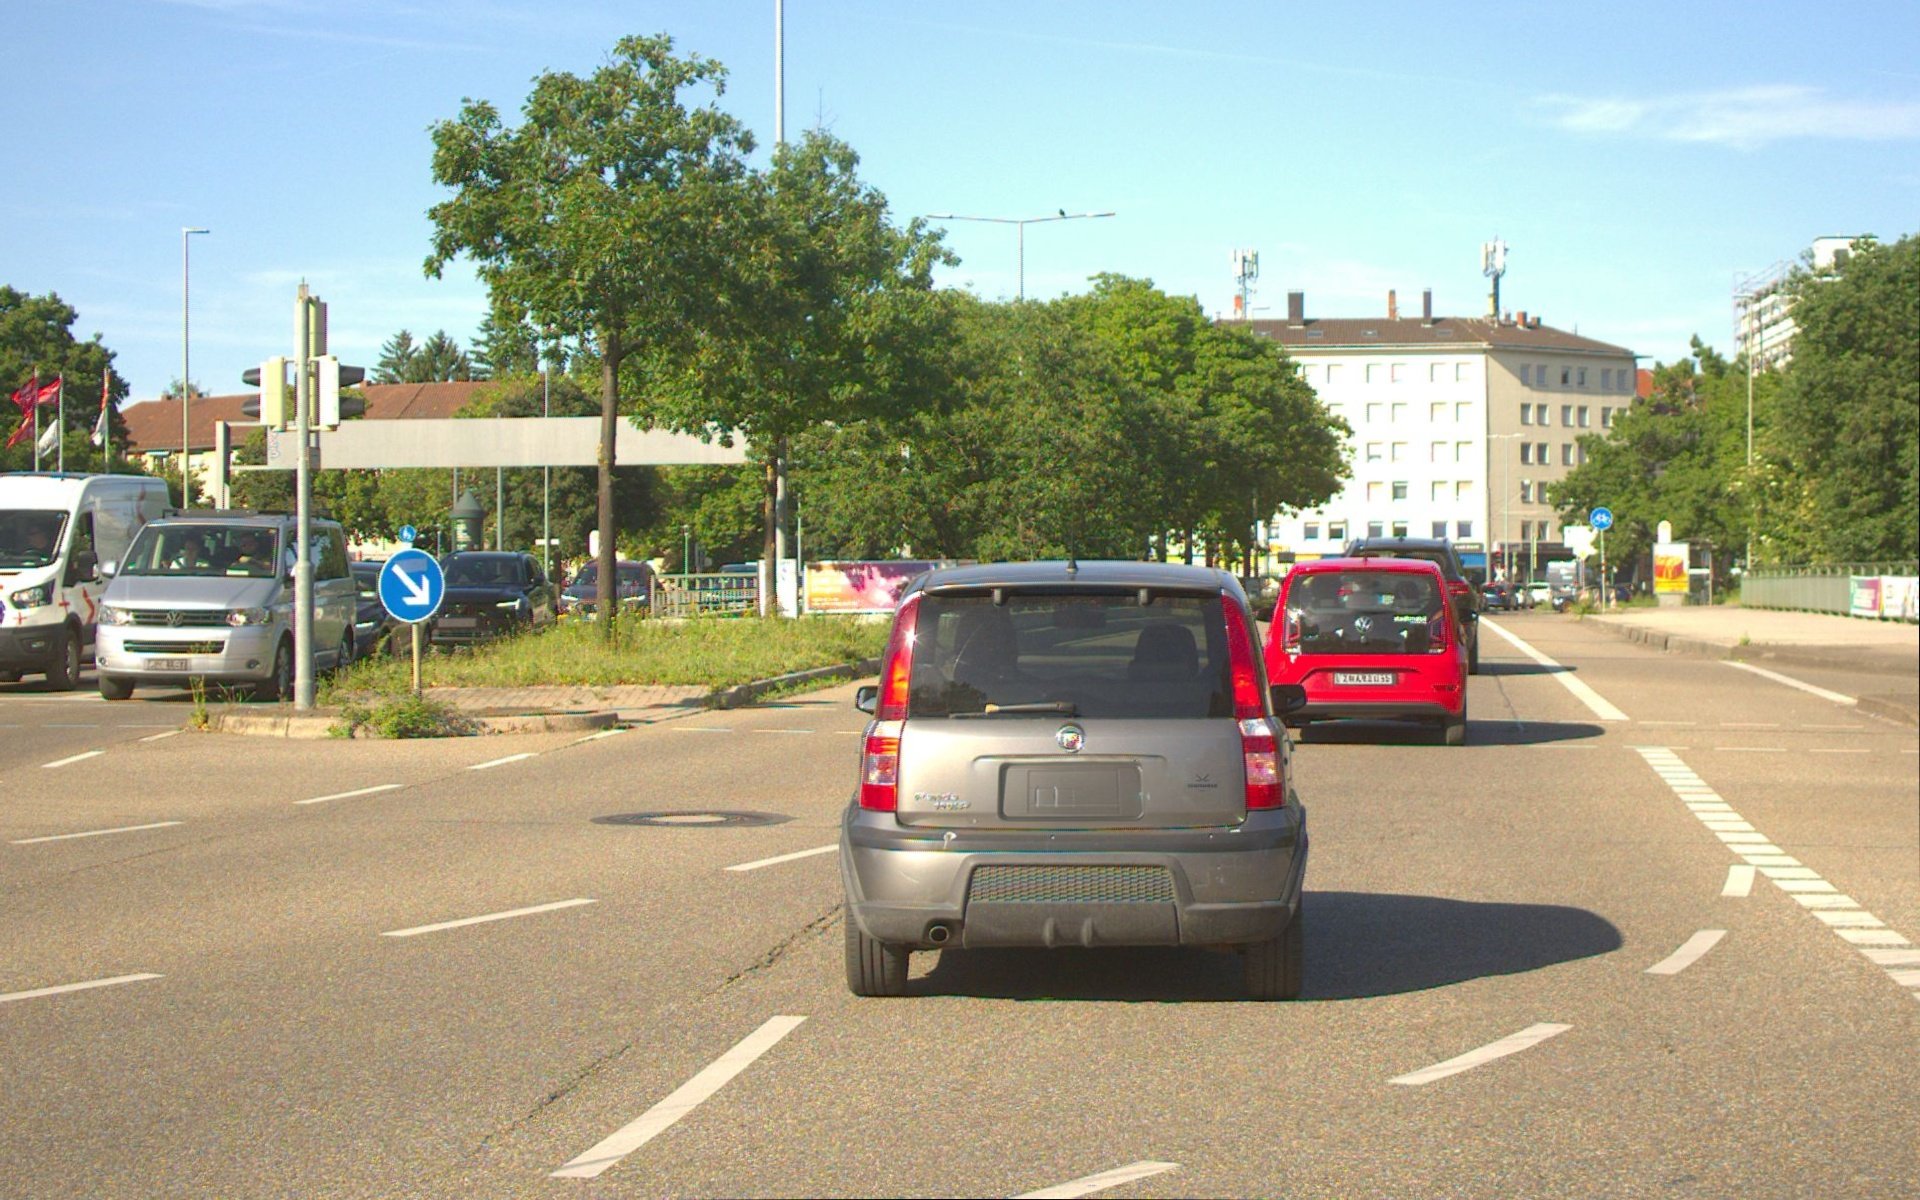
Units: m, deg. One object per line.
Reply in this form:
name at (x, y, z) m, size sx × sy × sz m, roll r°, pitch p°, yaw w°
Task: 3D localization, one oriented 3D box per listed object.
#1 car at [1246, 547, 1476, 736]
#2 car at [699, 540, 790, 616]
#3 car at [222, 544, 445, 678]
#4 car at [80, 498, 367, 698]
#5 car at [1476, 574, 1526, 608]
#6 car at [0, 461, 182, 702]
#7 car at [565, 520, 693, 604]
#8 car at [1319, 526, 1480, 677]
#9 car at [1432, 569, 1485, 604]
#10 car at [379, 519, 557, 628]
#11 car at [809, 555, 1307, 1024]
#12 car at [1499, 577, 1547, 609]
car at (3.265, 0.292, 28.535) m, size 1.617 × 1.458 × 3.750 m, roll 0°, pitch 1°, yaw 2°
car at (-5.893, -0.605, 94.589) m, size 1.994 × 2.007 × 4.334 m, roll -1°, pitch 0°, yaw 3°
car at (-7.866, 0.105, 43.574) m, size 1.936 × 1.617 × 4.506 m, roll 0°, pitch 1°, yaw 1°
car at (-7.789, -0.055, 36.842) m, size 1.936 × 2.001 × 4.931 m, roll 0°, pitch 1°, yaw 1°
car at (29.421, -0.475, 186.875) m, size 1.867 × 1.675 × 3.904 m, roll 1°, pitch -1°, yaw 21°
car at (-10.692, -0.234, 39.713) m, size 1.936 × 2.567 × 6.089 m, roll 0°, pitch 1°, yaw 1°
car at (-6.571, -0.765, 68.681) m, size 1.937 × 1.617 × 4.505 m, roll 0°, pitch 1°, yaw 2°
car at (5.743, 0.030, 44.908) m, size 1.946 × 1.834 × 4.151 m, roll 2°, pitch 0°, yaw 7°
car at (25.767, -0.708, 177.610) m, size 1.867 × 1.675 × 3.904 m, roll 1°, pitch -1°, yaw 21°
car at (-7.565, -0.416, 53.240) m, size 1.937 × 1.617 × 4.505 m, roll 0°, pitch 1°, yaw 2°
car at (0.399, 0.592, 13.135) m, size 1.617 × 1.510 × 3.819 m, roll 0°, pitch 1°, yaw 2°
car at (31.885, -0.366, 194.612) m, size 1.868 × 1.675 × 3.904 m, roll 1°, pitch -1°, yaw 22°
